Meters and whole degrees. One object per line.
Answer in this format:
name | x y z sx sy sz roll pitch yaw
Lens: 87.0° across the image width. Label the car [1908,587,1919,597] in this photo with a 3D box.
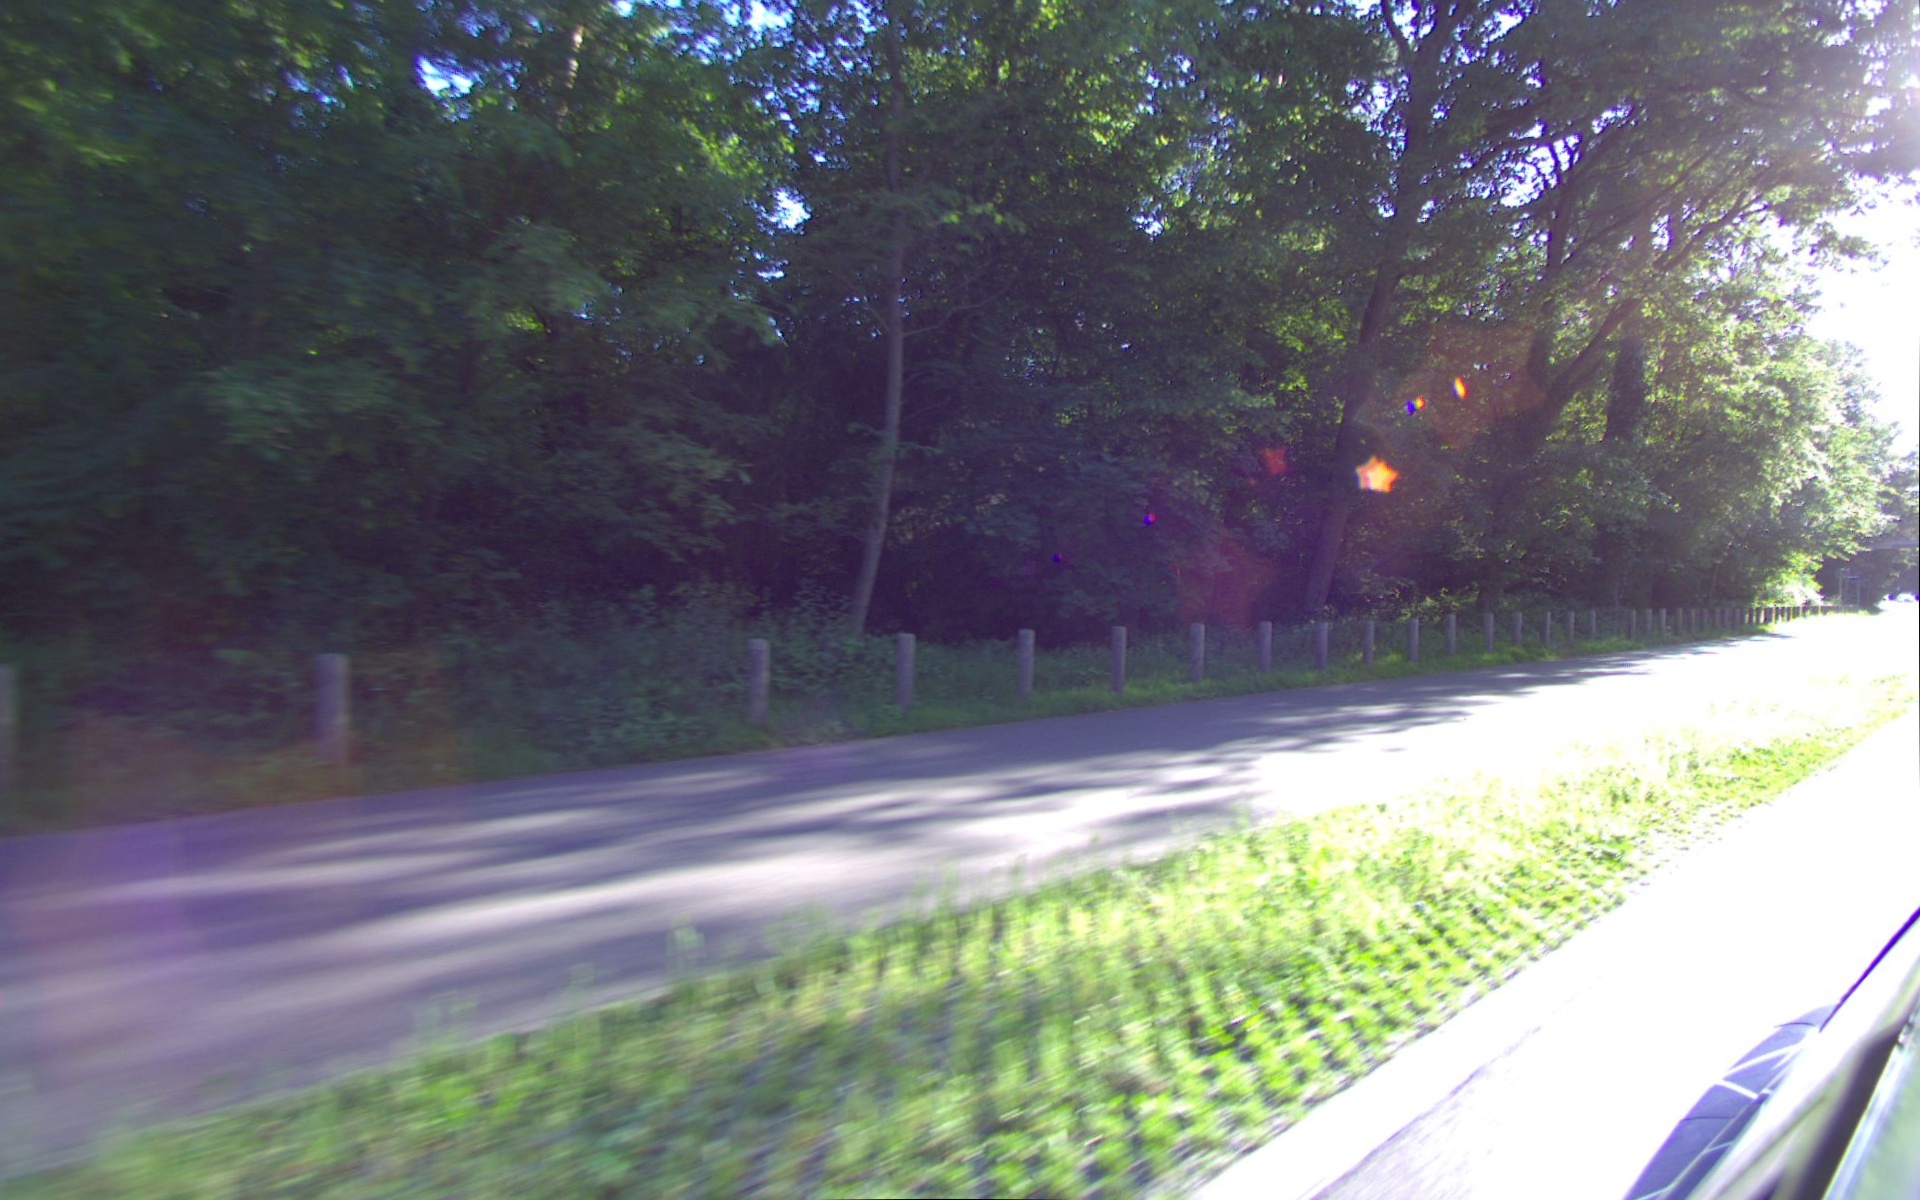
car | 164.728 -1.328 173.987 1.816 1.705 3.950 2 2 35
